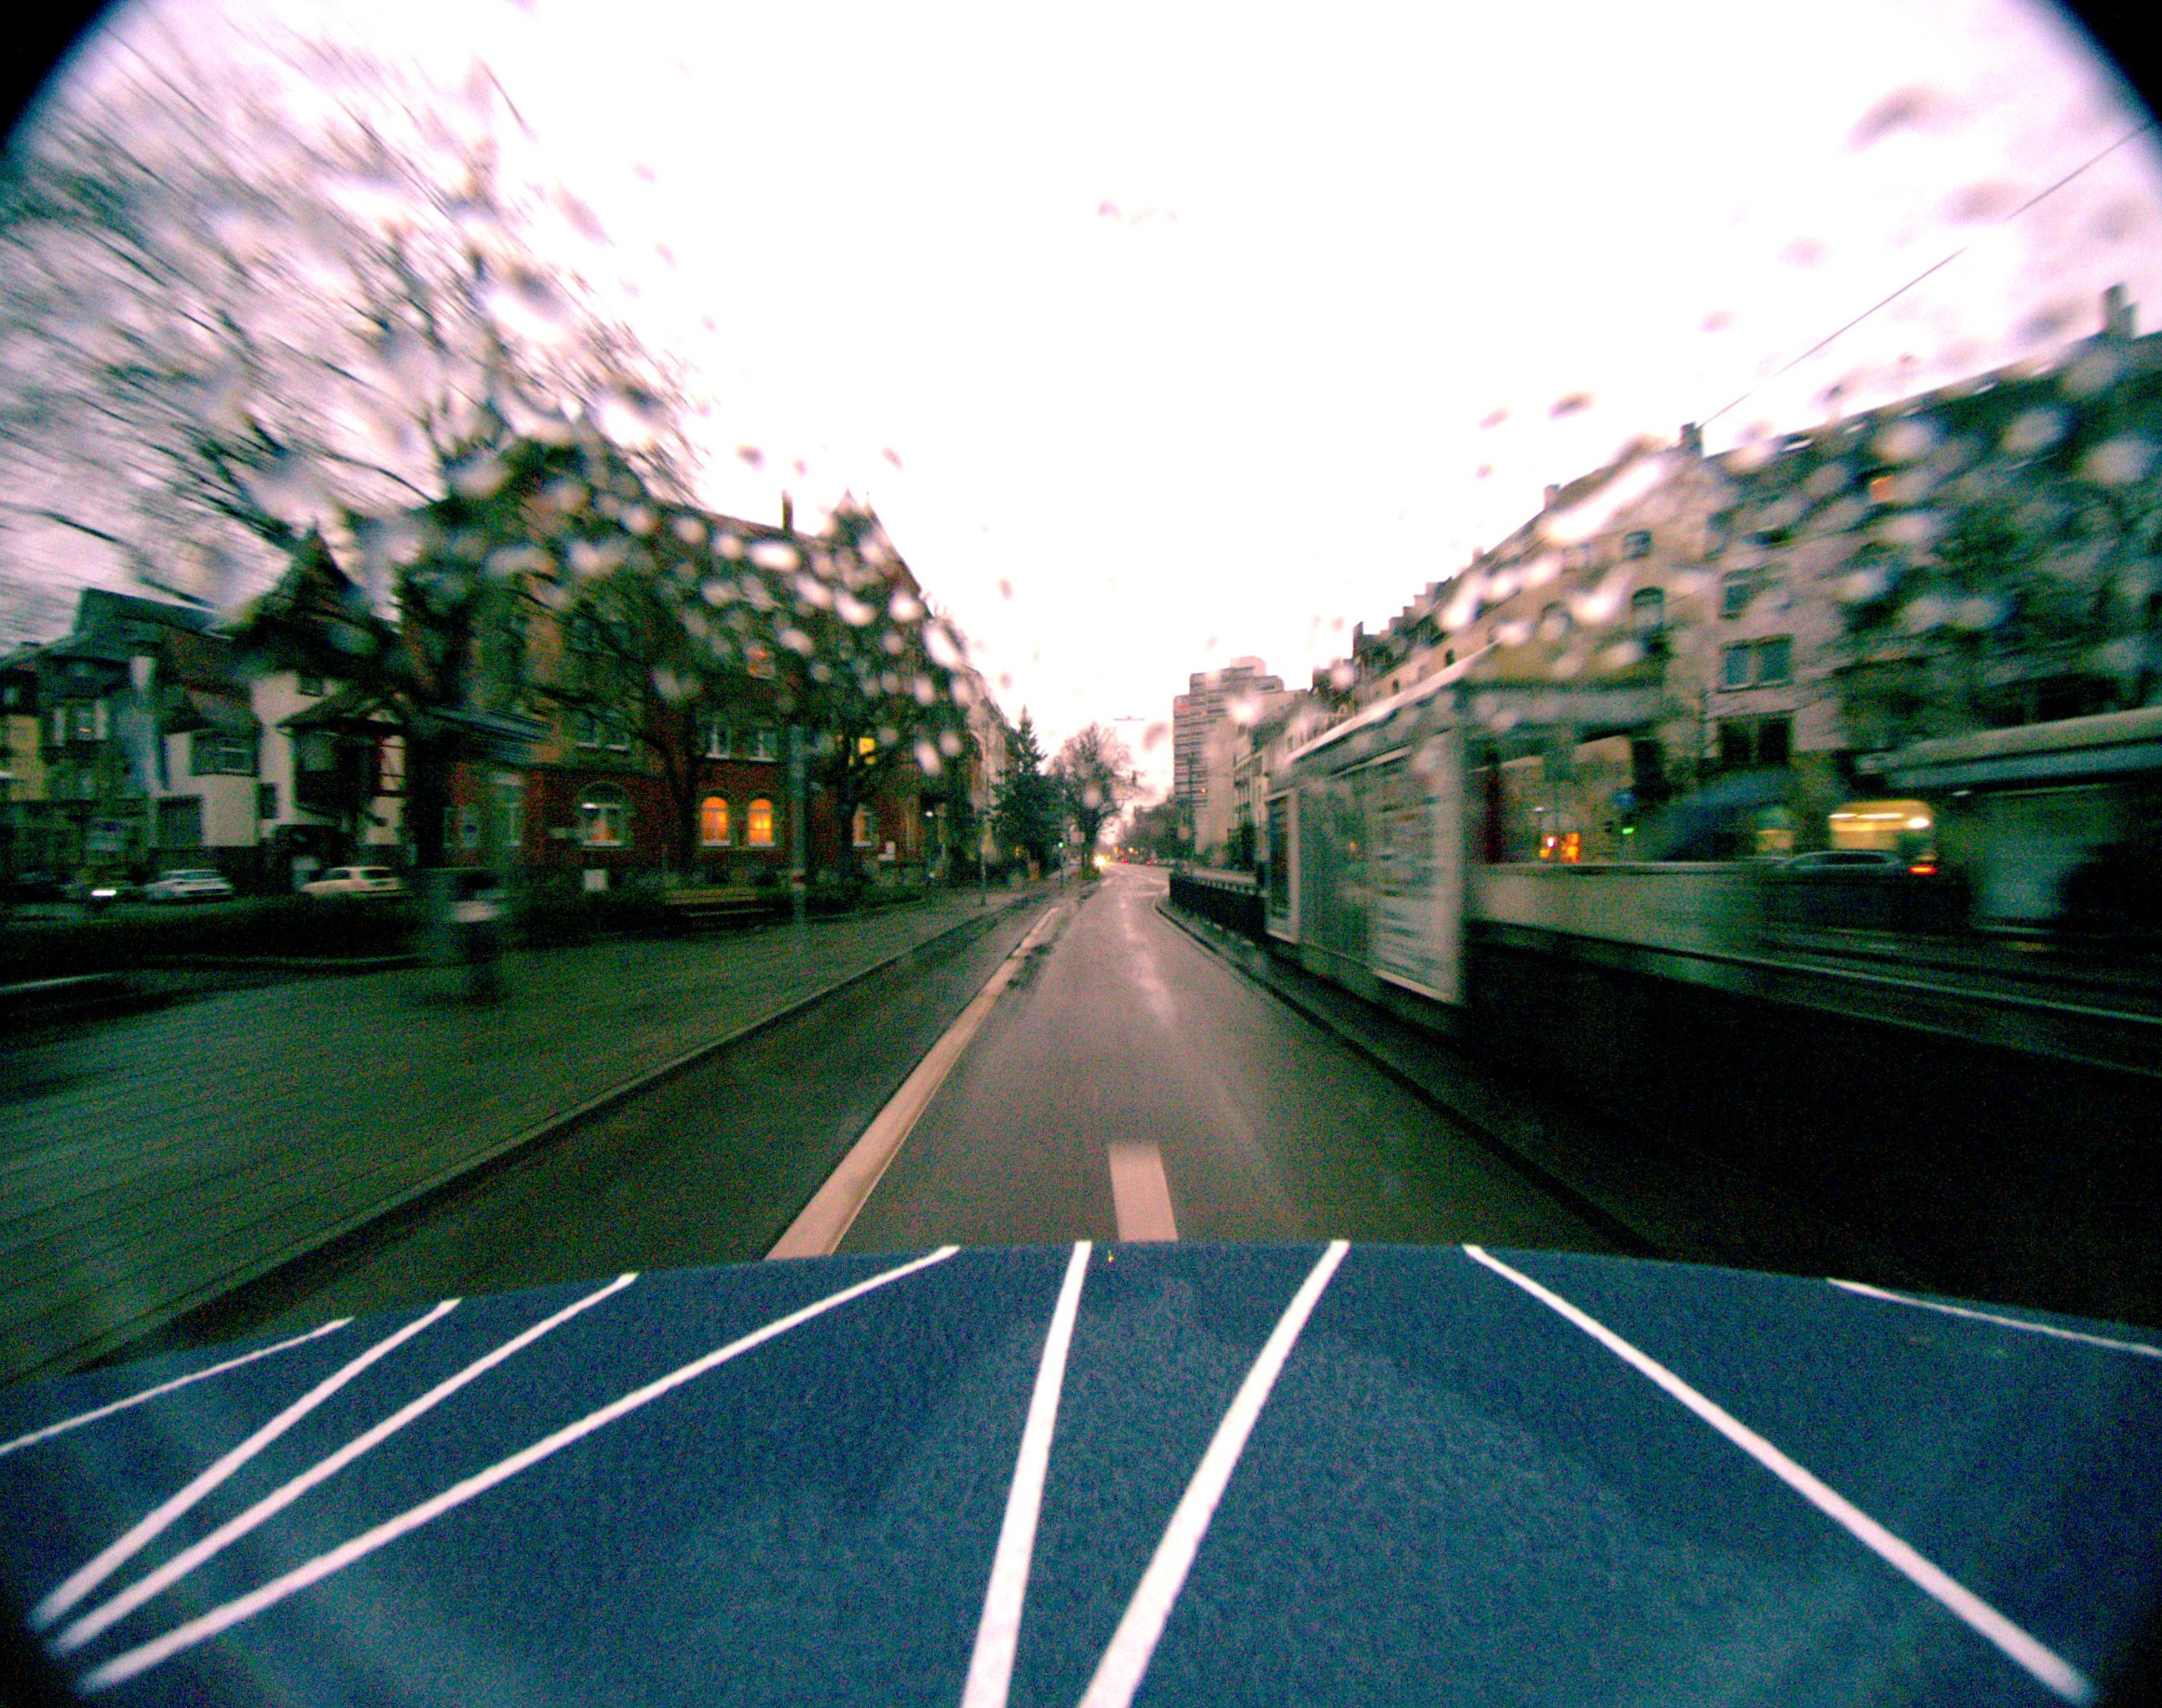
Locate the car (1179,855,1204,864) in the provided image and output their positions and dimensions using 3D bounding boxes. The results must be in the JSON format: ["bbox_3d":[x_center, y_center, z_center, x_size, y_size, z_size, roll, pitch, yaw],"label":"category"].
[{"bbox_3d":[17.674,0.817,121.330,3.839,1.405,1.727,0,0,1],"label":"car"}]

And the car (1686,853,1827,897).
[{"bbox_3d":[25.228,0.811,28.542,3.816,1.464,1.617,-3,0,40],"label":"car"}]

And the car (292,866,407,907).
[{"bbox_3d":[-28.409,1.240,29.516,3.991,1.487,1.650,0,0,21],"label":"car"}]

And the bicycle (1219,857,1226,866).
[{"bbox_3d":[17.315,0.913,93.096,0.485,1.001,2.209,-4,0,2],"label":"bicycle"}]

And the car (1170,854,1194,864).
[{"bbox_3d":[17.317,0.842,129.966,3.839,1.405,1.727,-3,0,1],"label":"car"}]

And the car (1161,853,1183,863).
[{"bbox_3d":[17.680,0.697,147.633,3.839,1.707,1.727,-4,0,1],"label":"car"}]

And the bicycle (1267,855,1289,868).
[{"bbox_3d":[19.781,0.712,76.191,1.989,1.152,0.531,-4,1,0],"label":"bicycle"}]

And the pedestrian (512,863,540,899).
[{"bbox_3d":[-20.478,0.994,28.053,0.545,1.308,0.609,-2,0,21],"label":"pedestrian"}]

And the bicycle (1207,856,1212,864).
[{"bbox_3d":[17.164,0.799,101.416,0.435,1.001,1.881,0,0,2],"label":"bicycle"}]

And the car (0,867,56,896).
[{"bbox_3d":[-59.183,1.513,42.140,3.991,1.506,1.728,0,0,21],"label":"car"}]

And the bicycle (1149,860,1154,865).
[{"bbox_3d":[13.445,1.626,145.103,0.649,0.884,1.712,1,0,-7],"label":"bicycle"}]

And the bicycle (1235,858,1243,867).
[{"bbox_3d":[17.052,0.909,82.236,0.530,0.934,2.086,-4,0,5],"label":"bicycle"}]

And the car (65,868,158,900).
[{"bbox_3d":[-48.188,1.461,37.758,3.991,1.498,1.728,0,0,21],"label":"car"}]

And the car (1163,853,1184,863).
[{"bbox_3d":[17.456,0.735,143.681,3.839,1.707,1.727,-4,0,1],"label":"car"}]

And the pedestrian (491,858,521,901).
[{"bbox_3d":[-20.737,0.921,27.415,0.545,1.517,0.645,-2,0,22],"label":"pedestrian"}]

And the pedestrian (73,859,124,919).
[{"bbox_3d":[-31.274,1.083,24.189,0.876,1.853,0.816,0,1,28],"label":"pedestrian"}]

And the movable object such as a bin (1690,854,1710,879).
[{"bbox_3d":[27.834,0.565,34.173,0.647,1.129,0.655,0,1,37],"label":"movable object such as a bin"}]

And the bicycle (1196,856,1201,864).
[{"bbox_3d":[17.296,0.876,112.068,0.469,1.001,1.881,-4,0,2],"label":"bicycle"}]

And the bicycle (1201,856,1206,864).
[{"bbox_3d":[17.233,0.819,107.124,0.435,1.001,1.881,-4,0,2],"label":"bicycle"}]

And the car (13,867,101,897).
[{"bbox_3d":[-53.862,1.460,39.967,3.991,1.489,1.728,0,0,21],"label":"car"}]

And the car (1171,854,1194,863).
[{"bbox_3d":[17.970,0.826,134.447,3.839,1.405,1.727,-4,0,1],"label":"car"}]

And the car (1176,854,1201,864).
[{"bbox_3d":[17.514,0.763,124.141,3.839,1.405,1.727,-4,0,1],"label":"car"}]

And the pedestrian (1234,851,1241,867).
[{"bbox_3d":[16.527,0.566,80.104,0.573,1.632,0.449,-4,1,-3],"label":"pedestrian"}]

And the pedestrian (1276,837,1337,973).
[{"bbox_3d":[2.990,0.659,10.117,0.558,1.731,0.571,-4,1,1],"label":"pedestrian"}]

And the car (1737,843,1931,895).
[{"bbox_3d":[24.263,0.460,24.748,4.331,1.574,1.941,0,0,39],"label":"car"}]

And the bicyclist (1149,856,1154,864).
[{"bbox_3d":[13.462,1.075,145.053,0.657,1.492,0.658,1,1,-7],"label":"bicyclist"}]

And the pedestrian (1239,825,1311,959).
[{"bbox_3d":[2.947,0.562,11.588,0.855,1.944,0.571,-4,1,1],"label":"pedestrian"}]

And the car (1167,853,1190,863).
[{"bbox_3d":[18.056,0.739,140.851,3.839,1.707,1.727,-3,0,1],"label":"car"}]

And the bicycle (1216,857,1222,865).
[{"bbox_3d":[17.357,0.882,95.808,0.435,1.001,1.712,-4,0,2],"label":"bicycle"}]

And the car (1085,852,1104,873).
[{"bbox_3d":[1.329,0.811,77.465,1.726,1.934,4.508,-4,0,-1],"label":"car"}]

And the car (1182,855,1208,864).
[{"bbox_3d":[17.829,0.826,118.654,3.839,1.405,1.727,-1,0,1],"label":"car"}]

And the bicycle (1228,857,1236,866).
[{"bbox_3d":[17.288,0.857,87.032,0.530,0.884,2.210,-4,0,5],"label":"bicycle"}]

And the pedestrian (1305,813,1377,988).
[{"bbox_3d":[3.067,0.539,8.998,0.558,1.975,0.571,-4,1,1],"label":"pedestrian"}]

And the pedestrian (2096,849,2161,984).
[{"bbox_3d":[11.598,0.659,8.255,0.474,1.395,0.453,-4,1,0],"label":"pedestrian"}]

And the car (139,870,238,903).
[{"bbox_3d":[-40.463,1.432,34.440,3.991,1.390,1.650,0,0,21],"label":"car"}]

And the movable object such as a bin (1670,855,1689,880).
[{"bbox_3d":[27.290,0.602,34.648,0.647,1.129,0.693,0,1,37],"label":"movable object such as a bin"}]

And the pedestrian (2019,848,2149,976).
[{"bbox_3d":[11.598,0.654,8.807,0.685,1.395,0.578,-4,1,0],"label":"pedestrian"}]
